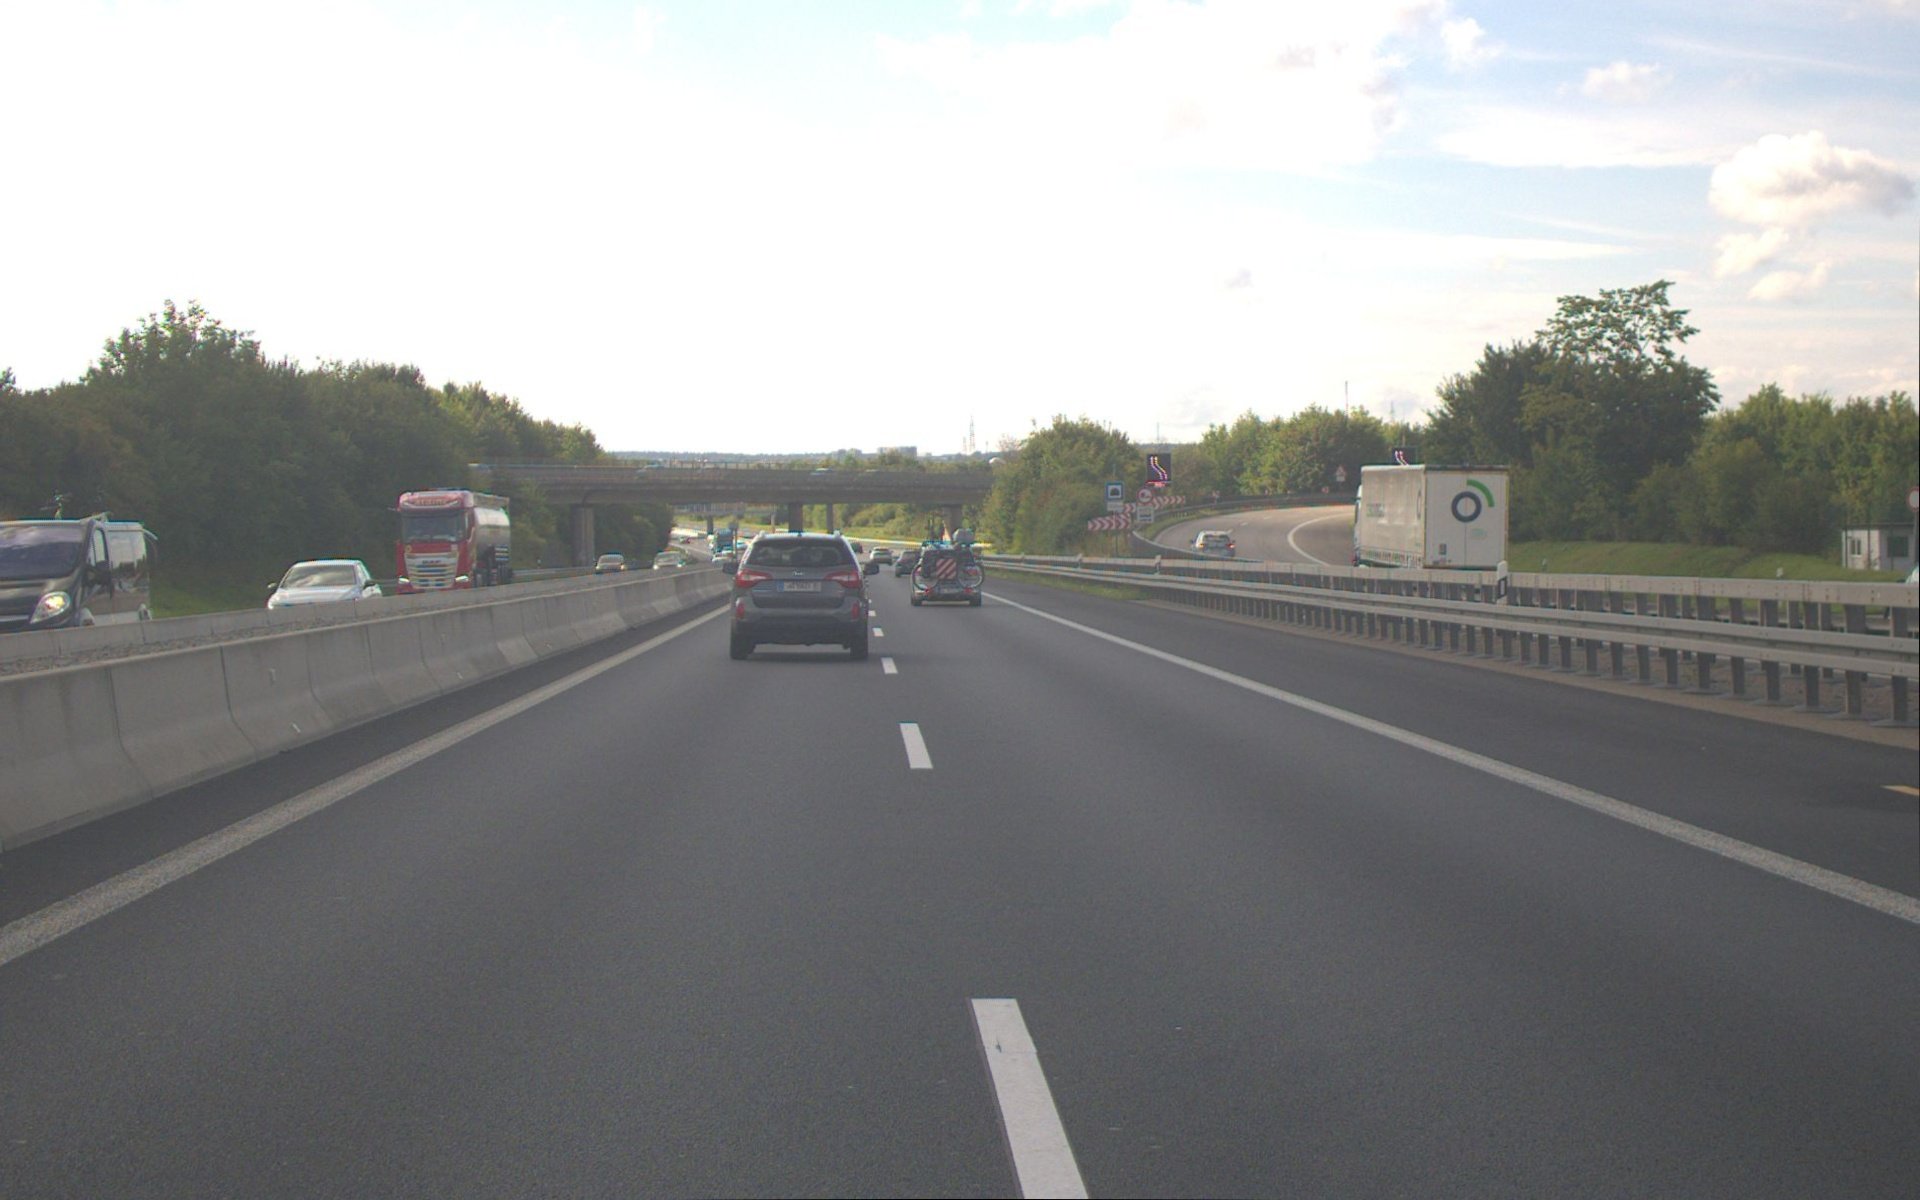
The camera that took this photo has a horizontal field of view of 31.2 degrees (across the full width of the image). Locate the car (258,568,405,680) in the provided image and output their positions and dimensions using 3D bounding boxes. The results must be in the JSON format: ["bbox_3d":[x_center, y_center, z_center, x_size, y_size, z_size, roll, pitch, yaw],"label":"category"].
[{"bbox_3d":[-11.974,0.419,65.773,1.993,2.007,4.678,-1,1,-1],"label":"car"}]

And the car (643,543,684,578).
[{"bbox_3d":[-15.933,-2.143,185.050,1.807,1.826,4.397,-2,1,-1],"label":"car"}]

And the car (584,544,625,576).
[{"bbox_3d":[-20.336,-2.298,196.651,1.993,1.711,4.000,-2,1,-1],"label":"car"}]

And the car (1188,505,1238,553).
[{"bbox_3d":[11.079,-3.102,150.752,1.994,2.007,4.000,-2,1,3],"label":"car"}]

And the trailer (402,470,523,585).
[{"bbox_3d":[-17.790,-2.575,123.557,2.713,3.873,11.161,-2,1,-1],"label":"trailer"}]

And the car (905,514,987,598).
[{"bbox_3d":[-0.389,-1.159,89.652,1.993,2.073,4.000,-2,1,-1],"label":"car"}]

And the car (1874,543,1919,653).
[{"bbox_3d":[15.988,-0.059,54.143,1.993,1.711,4.000,-2,1,-1],"label":"car"}]

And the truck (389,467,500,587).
[{"bbox_3d":[-17.748,-2.500,118.775,2.737,3.911,6.901,-2,1,-1],"label":"truck"}]

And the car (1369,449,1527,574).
[{"bbox_3d":[15.149,-2.729,107.330,3.576,3.664,7.549,-2,1,-1],"label":"car"}]

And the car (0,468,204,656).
[{"bbox_3d":[-10.467,-0.443,40.124,1.993,2.007,5.841,-2,1,-1],"label":"car"}]

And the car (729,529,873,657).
[{"bbox_3d":[-2.134,-0.117,46.877,1.750,1.624,3.609,-2,1,0],"label":"car"}]

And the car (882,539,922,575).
[{"bbox_3d":[-3.049,-2.255,179.867,1.975,1.773,4.121,-2,1,-2],"label":"car"}]
